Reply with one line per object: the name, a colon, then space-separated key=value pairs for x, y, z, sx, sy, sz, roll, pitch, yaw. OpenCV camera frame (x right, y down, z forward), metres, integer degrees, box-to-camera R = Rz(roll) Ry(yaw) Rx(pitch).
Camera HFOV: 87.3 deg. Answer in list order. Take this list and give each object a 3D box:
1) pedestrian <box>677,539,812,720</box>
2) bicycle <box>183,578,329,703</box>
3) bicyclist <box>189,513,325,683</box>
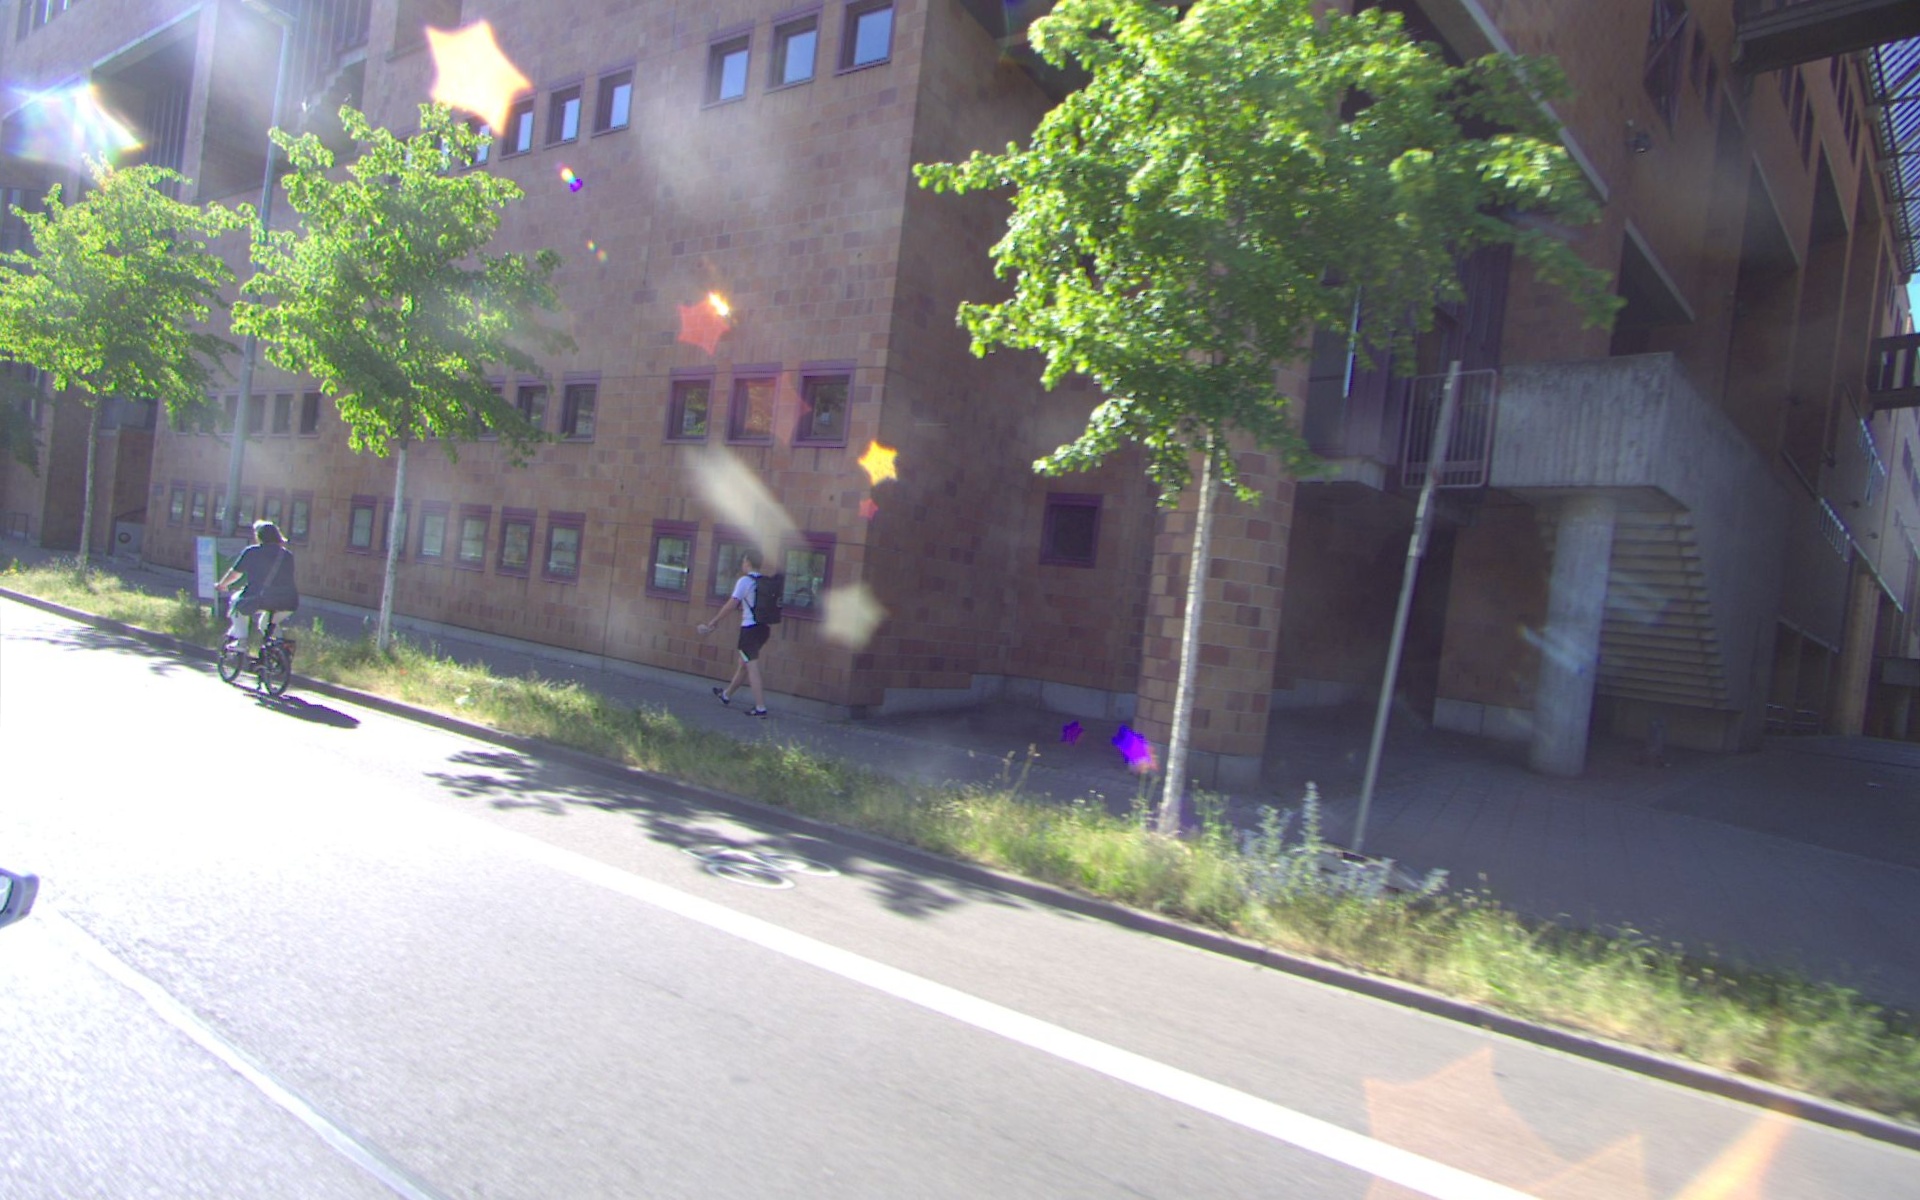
pedestrian: x=-2.455 y=0.330 z=11.471 sx=1.088 sy=1.906 sz=0.788 roll=7 pitch=1 yaw=33
bicycle: x=-7.030 y=0.394 z=10.027 sx=1.482 sy=1.039 sz=0.558 roll=7 pitch=-2 yaw=32
bicyclist: x=-7.021 y=-0.020 z=10.051 sx=0.894 sy=1.555 sz=0.658 roll=7 pitch=-1 yaw=32
